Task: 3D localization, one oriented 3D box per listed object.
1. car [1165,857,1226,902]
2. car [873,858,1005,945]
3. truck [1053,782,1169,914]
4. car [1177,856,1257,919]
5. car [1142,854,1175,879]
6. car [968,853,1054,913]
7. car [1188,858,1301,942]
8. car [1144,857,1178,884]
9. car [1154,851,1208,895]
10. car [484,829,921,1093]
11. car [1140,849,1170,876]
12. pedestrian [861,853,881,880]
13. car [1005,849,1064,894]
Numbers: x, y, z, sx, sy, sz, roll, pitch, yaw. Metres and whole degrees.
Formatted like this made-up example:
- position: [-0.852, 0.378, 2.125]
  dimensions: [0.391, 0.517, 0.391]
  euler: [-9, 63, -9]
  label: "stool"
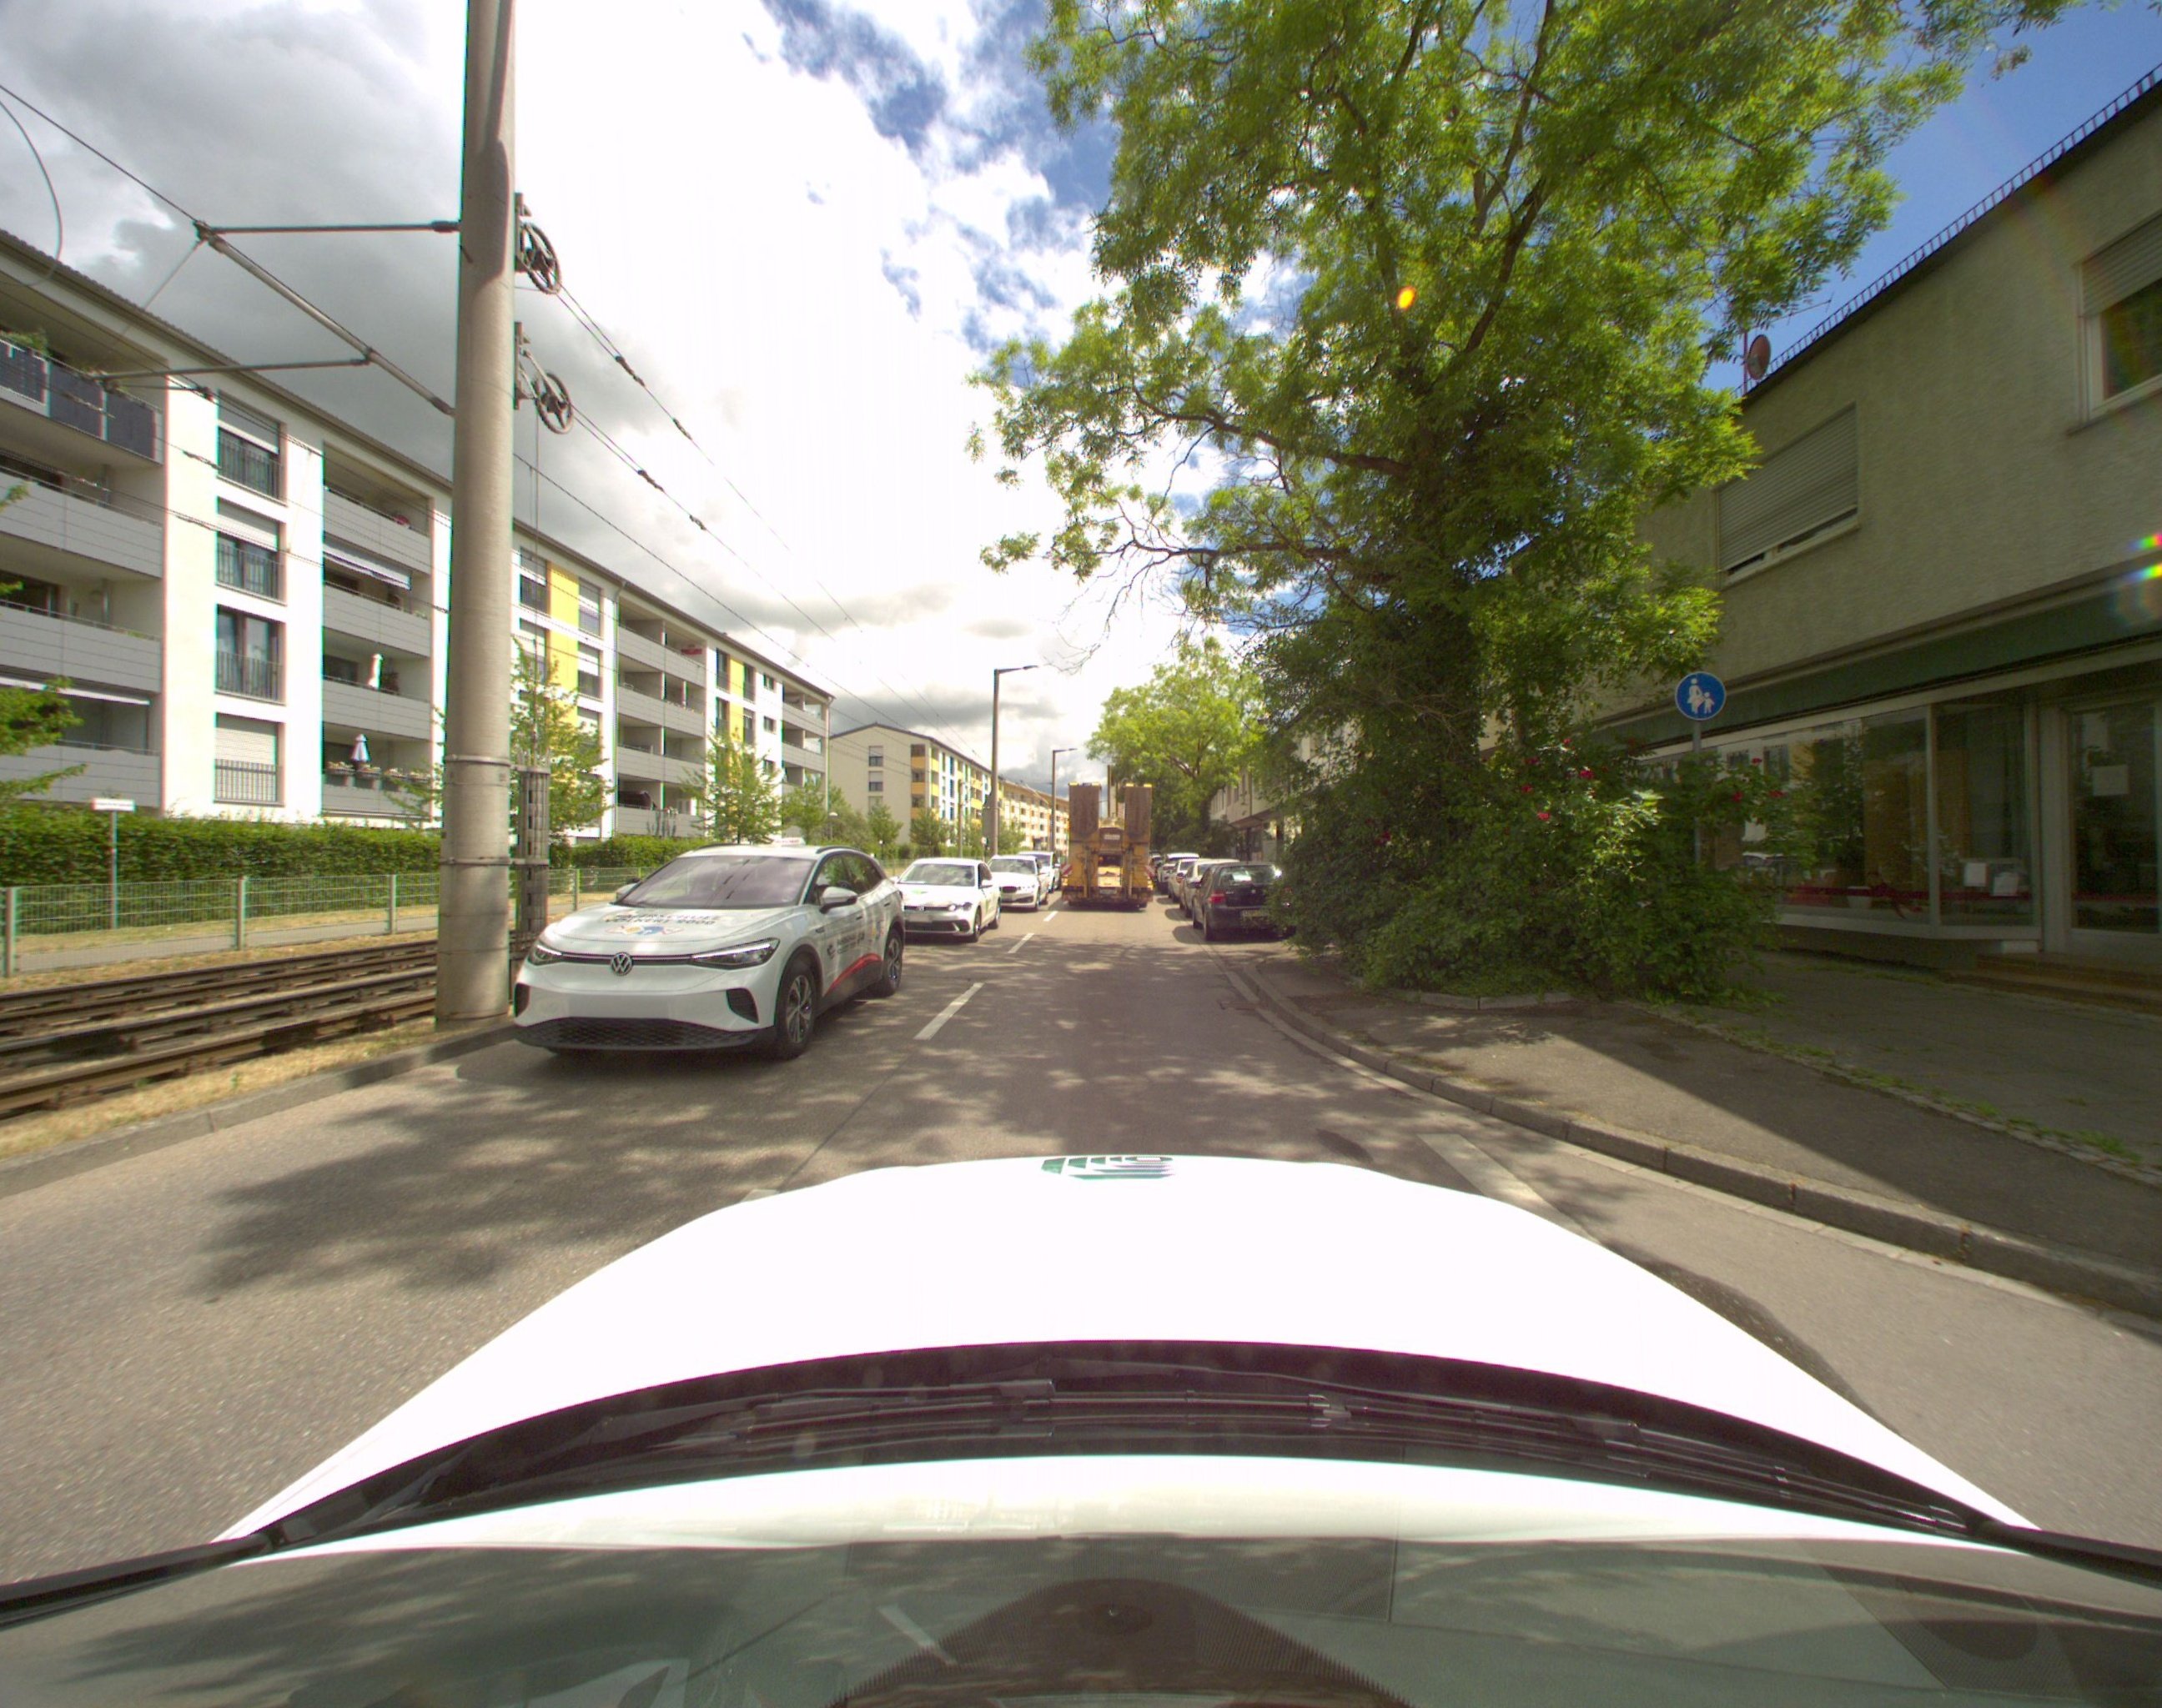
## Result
- position: [3.876, 0.824, 28.162]
  dimensions: [1.717, 1.426, 4.450]
  euler: [0, 0, 3]
  label: "car"
- position: [-2.518, 0.798, 15.376]
  dimensions: [1.740, 1.406, 3.941]
  euler: [0, 0, 1]
  label: "car"
- position: [1.059, -0.158, 28.361]
  dimensions: [3.112, 3.564, 12.465]
  euler: [0, 0, 2]
  label: "truck"
- position: [3.600, 0.822, 22.301]
  dimensions: [1.805, 1.498, 4.917]
  euler: [0, 0, 5]
  label: "car"
- position: [4.868, 0.769, 51.563]
  dimensions: [1.765, 1.442, 3.900]
  euler: [-2, 0, 1]
  label: "car"
- position: [-1.876, 0.746, 23.304]
  dimensions: [1.810, 1.502, 4.839]
  euler: [1, 0, 2]
  label: "car"
- position: [3.170, 0.832, 16.509]
  dimensions: [1.805, 1.463, 4.046]
  euler: [0, 0, 5]
  label: "car"
- position: [4.589, 0.905, 46.271]
  dimensions: [1.762, 1.349, 4.008]
  euler: [-2, 0, 7]
  label: "car"
- position: [4.022, 0.730, 33.412]
  dimensions: [1.830, 1.643, 4.432]
  euler: [0, 0, 2]
  label: "car"
- position: [-2.868, 0.689, 7.458]
  dimensions: [1.851, 1.690, 4.434]
  euler: [0, 0, 1]
  label: "car"
- position: [5.255, 0.603, 58.171]
  dimensions: [2.006, 1.788, 5.082]
  euler: [-1, 0, 5]
  label: "car"
- position: [-11.693, 0.686, 45.435]
  dimensions: [0.793, 1.483, 0.996]
  euler: [0, 0, 2]
  label: "pedestrian"
- position: [-1.776, 0.654, 32.528]
  dimensions: [1.810, 1.614, 4.605]
  euler: [1, 0, 3]
  label: "car"
